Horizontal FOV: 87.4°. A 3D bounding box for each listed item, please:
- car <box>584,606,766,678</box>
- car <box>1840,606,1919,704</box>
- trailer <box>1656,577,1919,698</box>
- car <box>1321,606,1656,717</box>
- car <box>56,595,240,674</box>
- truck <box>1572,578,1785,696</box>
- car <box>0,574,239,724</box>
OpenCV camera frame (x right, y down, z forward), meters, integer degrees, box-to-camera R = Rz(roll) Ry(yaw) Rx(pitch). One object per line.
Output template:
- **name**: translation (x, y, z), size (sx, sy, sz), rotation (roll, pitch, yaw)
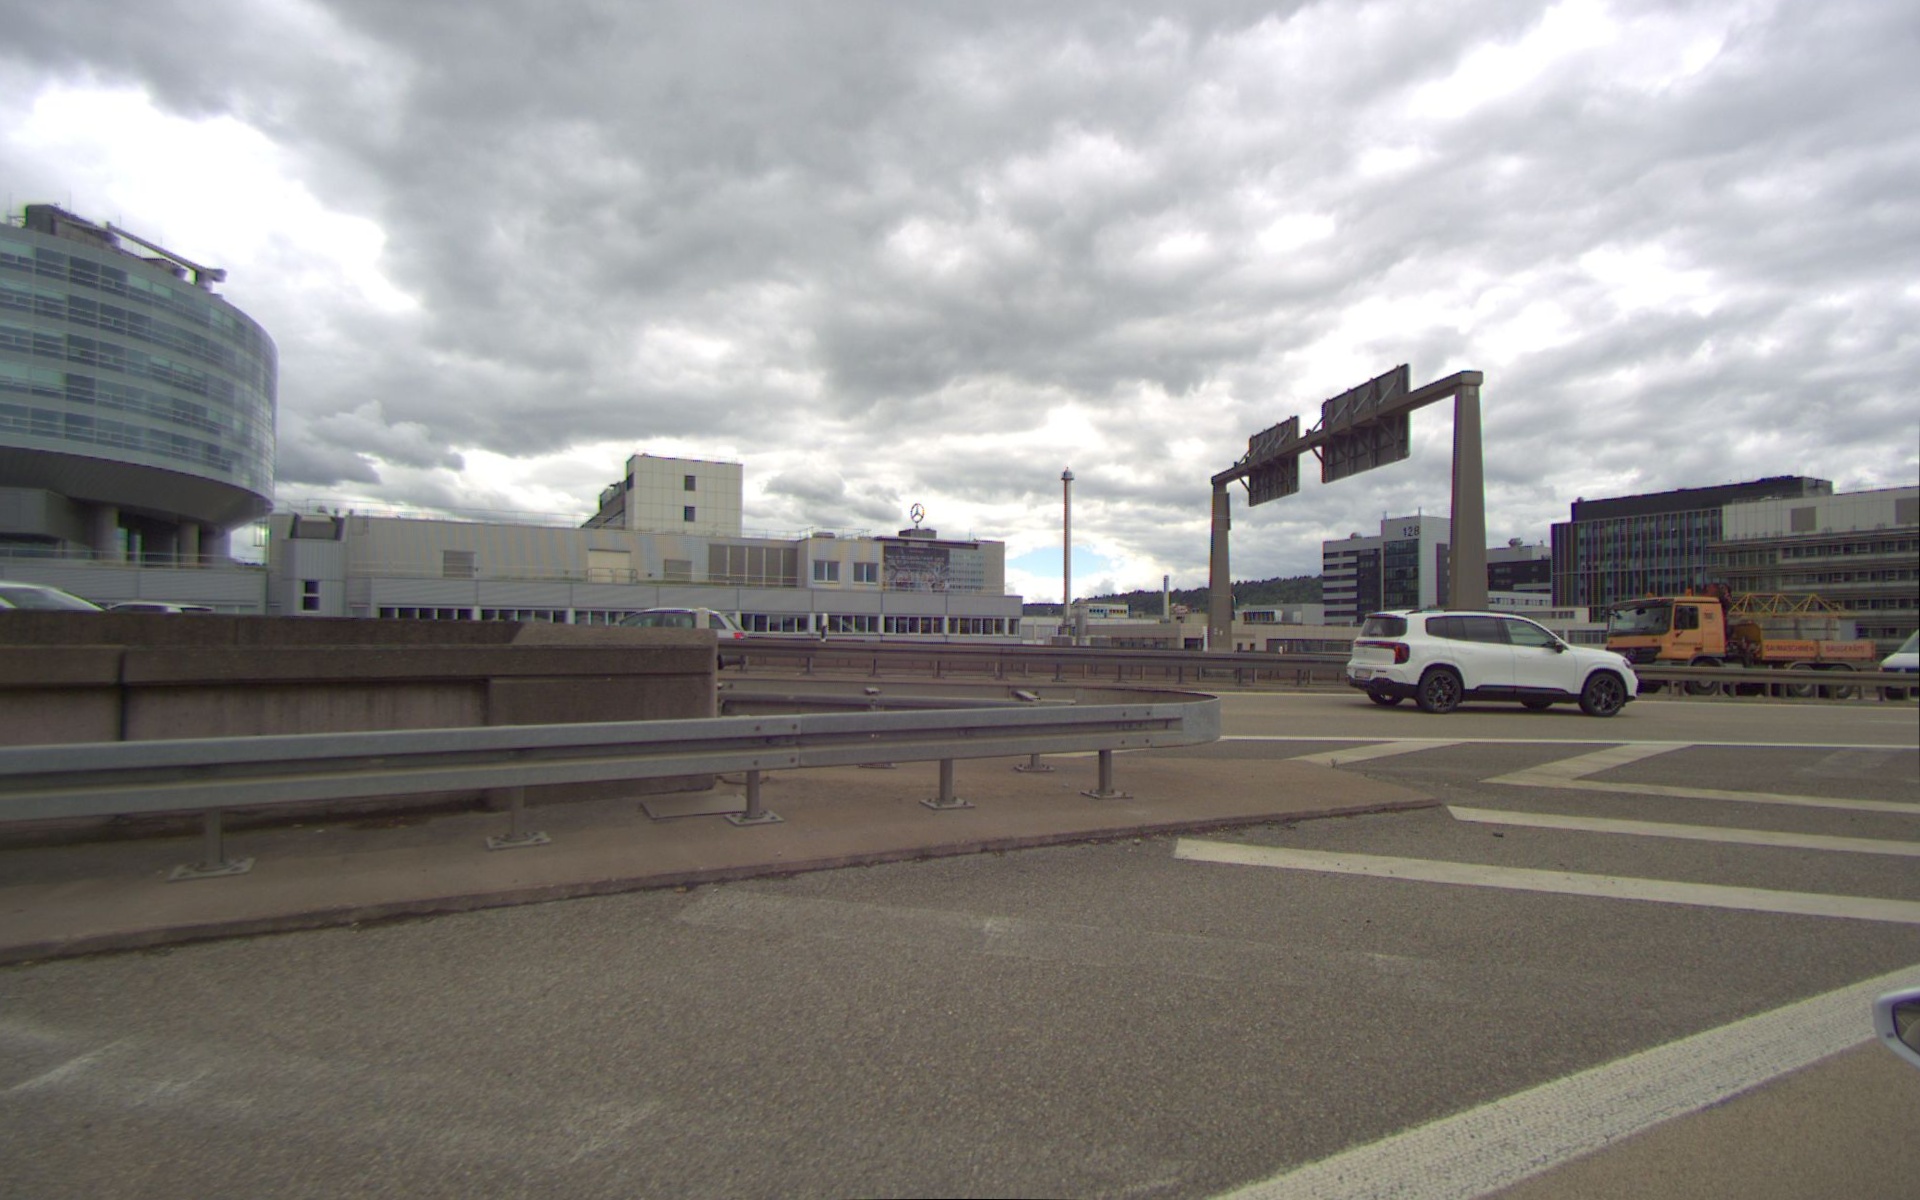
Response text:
- **car**: translation (-6.398, 0.961, 22.922), size (3.768, 1.538, 1.648), rotation (1, -3, -8)
- **car**: translation (29.171, 1.588, 28.810), size (6.077, 2.679, 2.584), rotation (1, -1, -8)
- **trailer**: translation (27.897, 1.276, 32.842), size (9.188, 3.684, 2.739), rotation (1, -2, -10)
- **car**: translation (8.964, 1.039, 17.253), size (4.800, 1.690, 1.999), rotation (2, -2, -6)
- **car**: translation (-24.650, 1.021, 30.631), size (3.922, 2.041, 1.999), rotation (3, 4, -1)
- **truck**: translation (22.728, 1.203, 31.936), size (5.014, 3.525, 2.747), rotation (1, -2, -10)
- **car**: translation (-10.548, 0.480, 10.991), size (3.927, 1.517, 1.712), rotation (1, 0, -9)
